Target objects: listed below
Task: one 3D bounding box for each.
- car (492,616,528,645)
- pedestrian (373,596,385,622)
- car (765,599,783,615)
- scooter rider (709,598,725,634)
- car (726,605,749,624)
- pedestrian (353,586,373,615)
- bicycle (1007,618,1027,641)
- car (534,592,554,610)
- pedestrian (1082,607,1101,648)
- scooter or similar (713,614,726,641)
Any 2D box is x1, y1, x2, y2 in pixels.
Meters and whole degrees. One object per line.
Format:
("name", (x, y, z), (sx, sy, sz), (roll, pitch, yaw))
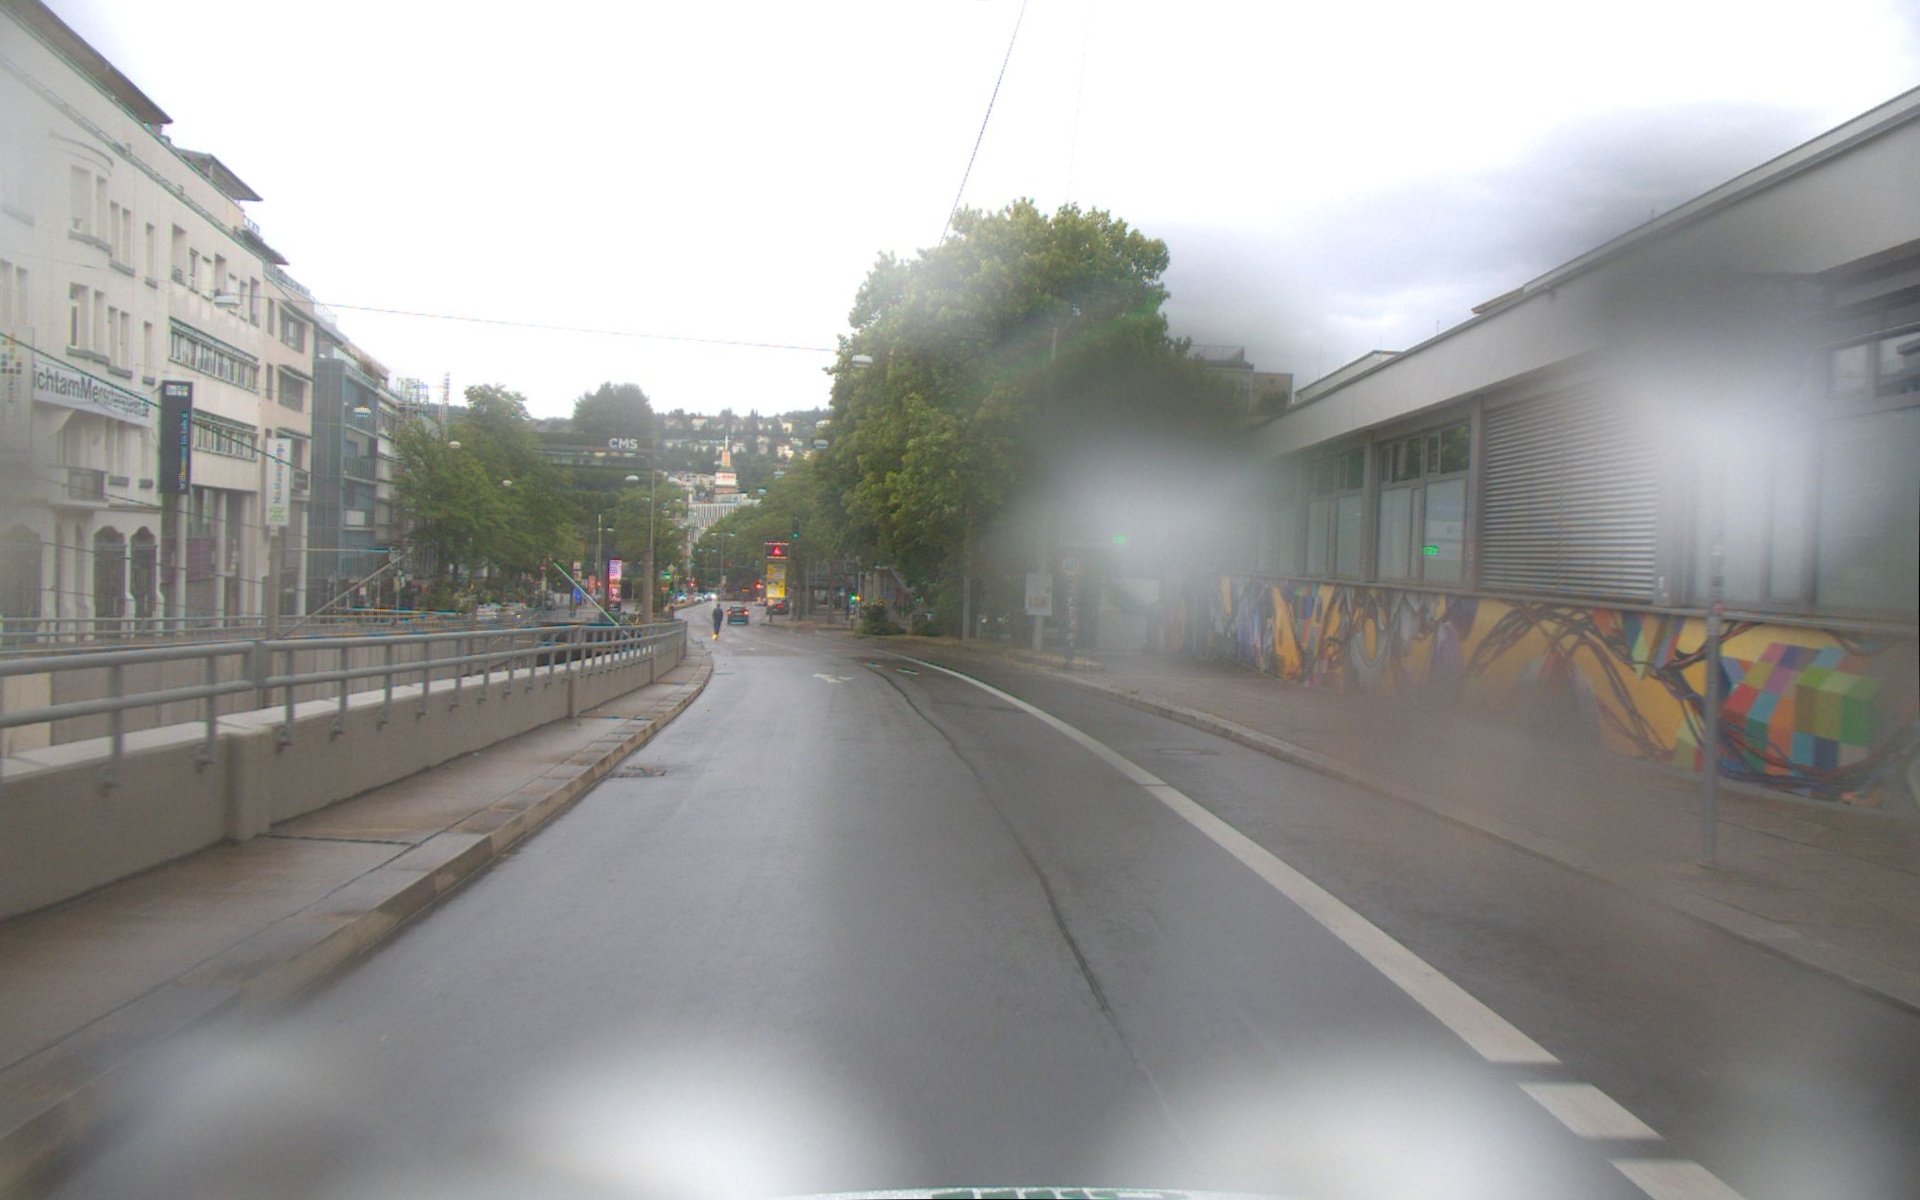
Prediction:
("car", (-30.609, 2.078, 112.590), (1.803, 1.742, 4.568), (1, 1, -9))
("pedestrian", (-38.502, 0.609, 109.540), (0.652, 1.701, 0.486), (1, -1, -12))
("car", (-19.835, 0.746, 176.327), (1.865, 1.713, 3.905), (2, 0, -7))
("scooter rider", (-13.516, 0.870, 92.054), (0.794, 1.982, 0.820), (2, -1, -12))
("car", (-18.555, 1.207, 137.835), (1.714, 1.545, 4.096), (2, 0, -11))
("pedestrian", (-40.475, 0.038, 112.147), (0.845, 1.901, 0.960), (2, -1, 8))
("bicycle", (2.920, 1.490, 84.619), (0.790, 1.131, 2.196), (1, -1, -4))
("car", (-43.082, 0.084, 171.351), (1.749, 1.582, 3.883), (2, 2, -11))
("pedestrian", (6.068, 1.259, 76.336), (0.790, 1.897, 1.055), (0, -1, -1))
("scooter or similar", (-13.408, 1.512, 92.069), (0.536, 1.443, 1.949), (2, -1, -12))
